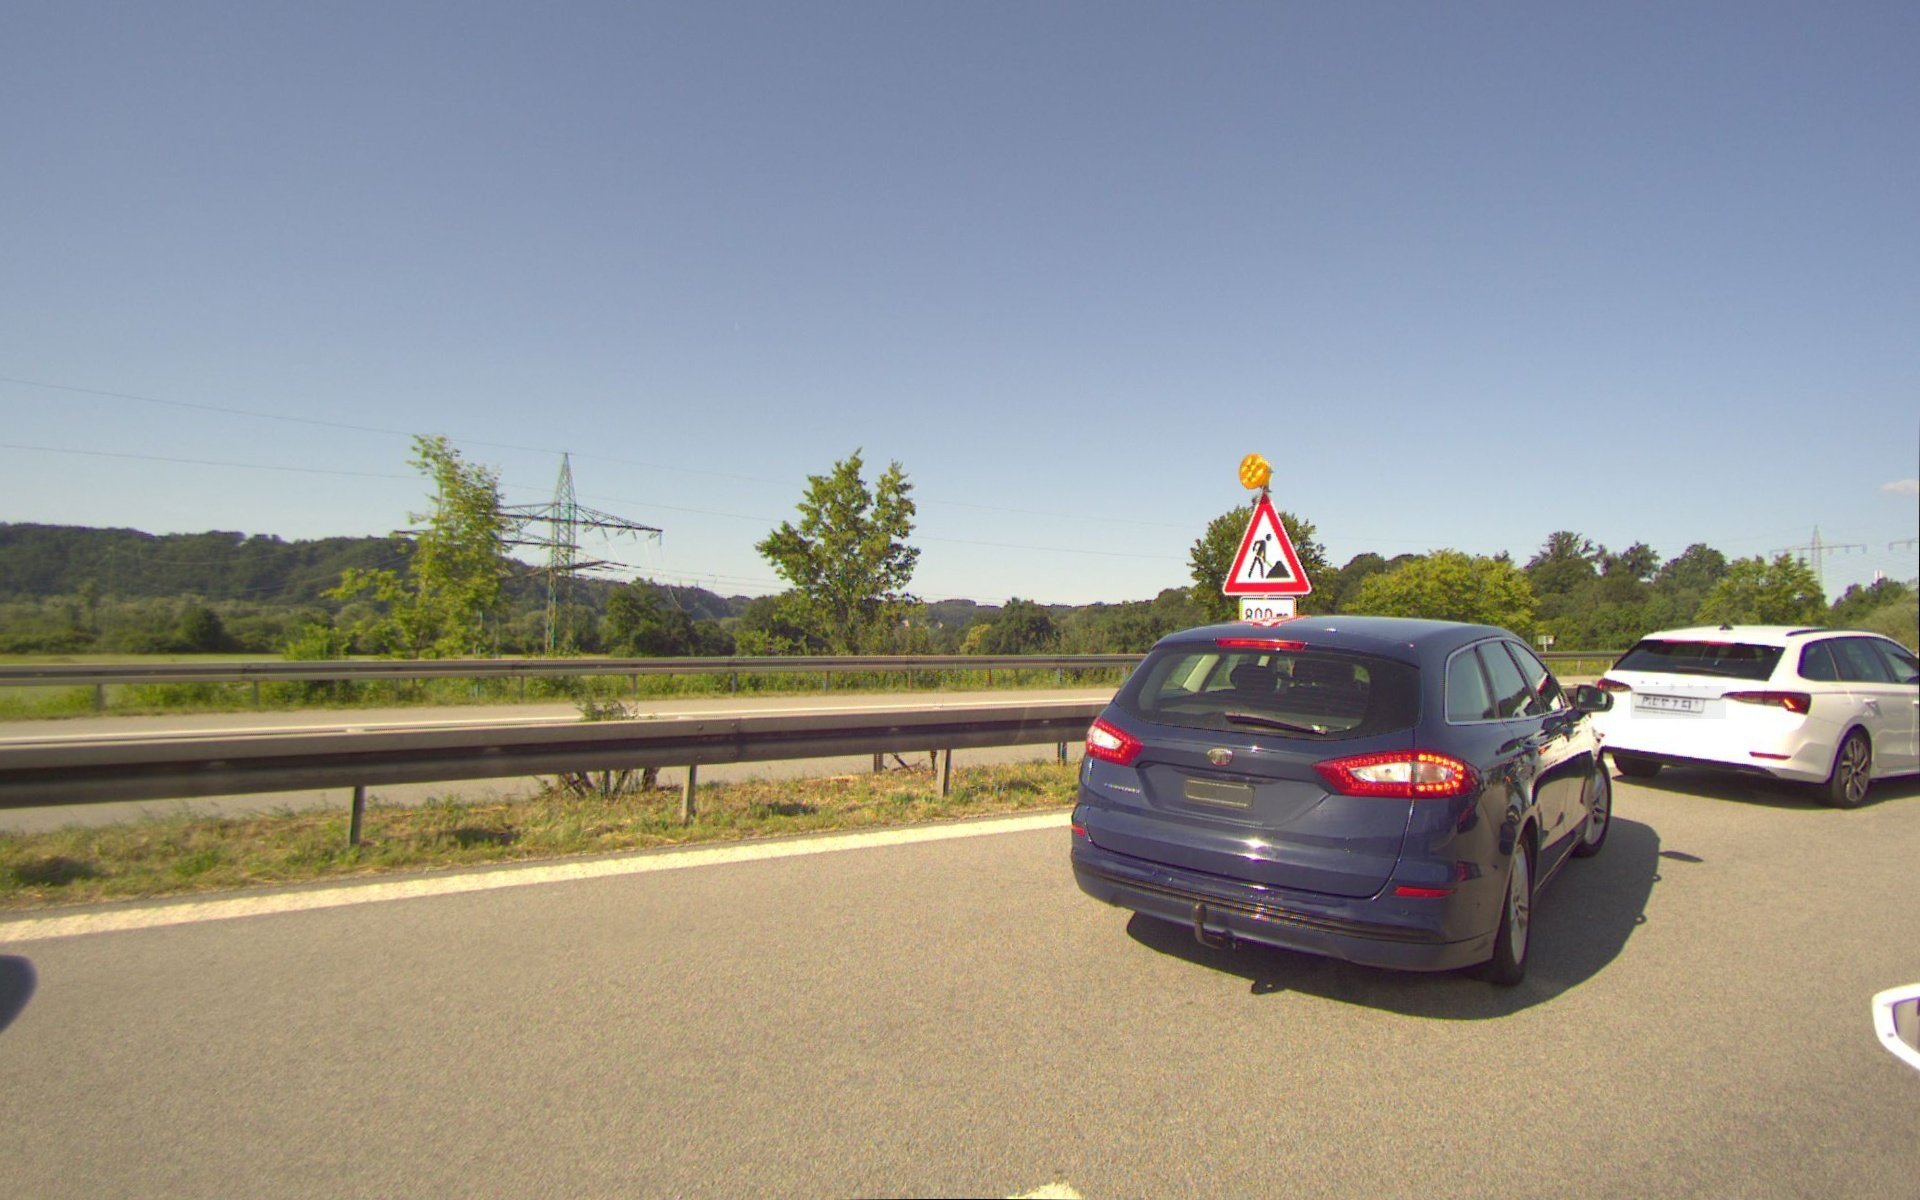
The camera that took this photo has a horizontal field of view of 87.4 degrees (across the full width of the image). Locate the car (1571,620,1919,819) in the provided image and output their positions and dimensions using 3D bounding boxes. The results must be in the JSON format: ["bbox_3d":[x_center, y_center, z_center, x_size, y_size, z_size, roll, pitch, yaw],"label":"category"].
[{"bbox_3d":[7.743,0.960,9.379,4.160,1.461,1.687,1,0,-30],"label":"car"}]

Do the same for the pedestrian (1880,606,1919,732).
[{"bbox_3d":[14.083,0.992,14.560,1.028,1.786,1.113,-1,-2,40],"label":"pedestrian"}]

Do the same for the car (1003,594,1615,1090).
[{"bbox_3d":[2.249,0.813,5.398,1.766,1.513,4.475,0,-2,38],"label":"car"}]
